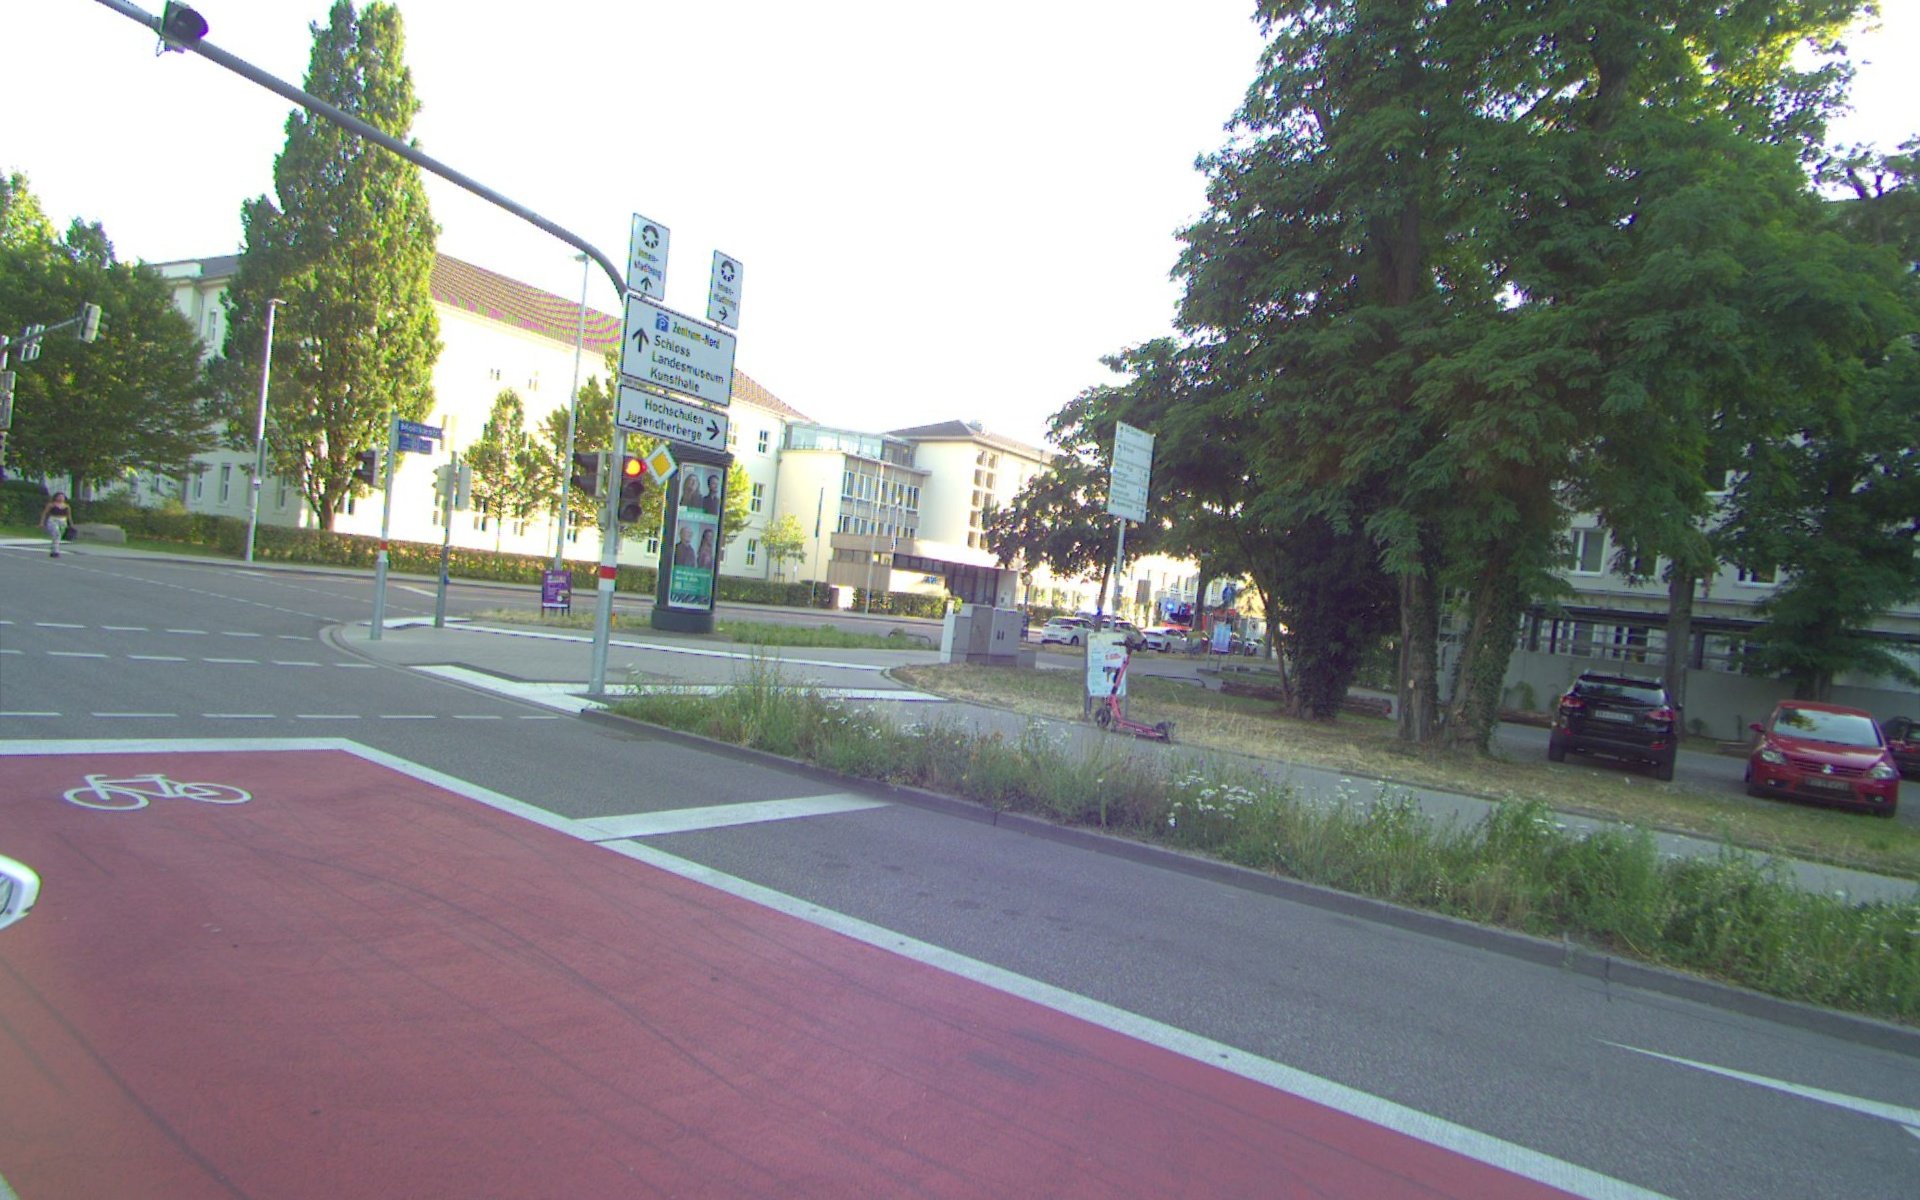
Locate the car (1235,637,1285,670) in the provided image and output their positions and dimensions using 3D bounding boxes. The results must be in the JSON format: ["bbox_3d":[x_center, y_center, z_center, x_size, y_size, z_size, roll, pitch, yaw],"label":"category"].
[{"bbox_3d":[20.370,3.669,68.222,1.873,1.831,3.988,7,-1,36],"label":"car"}]

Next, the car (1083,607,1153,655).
[{"bbox_3d":[8.064,1.586,51.175,1.713,2.038,3.988,7,-1,36],"label":"car"}]

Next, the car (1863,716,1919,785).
[{"bbox_3d":[23.172,3.656,24.019,1.873,1.459,3.987,7,-1,37],"label":"car"}]

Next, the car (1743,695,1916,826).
[{"bbox_3d":[13.987,2.479,16.390,1.759,1.581,3.984,7,0,38],"label":"car"}]

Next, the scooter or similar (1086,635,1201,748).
[{"bbox_3d":[2.324,1.146,12.795,1.289,1.247,0.311,7,1,32],"label":"scooter or similar"}]

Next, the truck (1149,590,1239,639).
[{"bbox_3d":[15.862,1.067,67.449,2.327,2.315,10.049,7,-1,34],"label":"truck"}]

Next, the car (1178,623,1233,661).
[{"bbox_3d":[14.605,2.503,59.715,1.698,1.879,3.989,7,-1,35],"label":"car"}]

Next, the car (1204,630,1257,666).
[{"bbox_3d":[17.220,3.041,63.845,1.789,1.893,4.136,7,-1,35],"label":"car"}]

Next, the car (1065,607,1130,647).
[{"bbox_3d":[7.606,1.491,55.305,1.720,1.783,3.989,7,-1,35],"label":"car"}]

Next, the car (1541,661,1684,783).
[{"bbox_3d":[11.759,2.132,18.051,1.808,1.715,3.899,7,-1,36],"label":"car"}]

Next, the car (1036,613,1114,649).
[{"bbox_3d":[5.476,1.491,47.695,1.793,1.358,3.985,6,0,37],"label":"car"}]

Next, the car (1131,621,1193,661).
[{"bbox_3d":[11.072,2.274,55.092,1.720,1.783,3.989,7,-1,35],"label":"car"}]

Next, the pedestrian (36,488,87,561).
[{"bbox_3d":[-21.911,-1.827,24.542,0.679,1.656,0.601,8,1,27],"label":"pedestrian"}]
